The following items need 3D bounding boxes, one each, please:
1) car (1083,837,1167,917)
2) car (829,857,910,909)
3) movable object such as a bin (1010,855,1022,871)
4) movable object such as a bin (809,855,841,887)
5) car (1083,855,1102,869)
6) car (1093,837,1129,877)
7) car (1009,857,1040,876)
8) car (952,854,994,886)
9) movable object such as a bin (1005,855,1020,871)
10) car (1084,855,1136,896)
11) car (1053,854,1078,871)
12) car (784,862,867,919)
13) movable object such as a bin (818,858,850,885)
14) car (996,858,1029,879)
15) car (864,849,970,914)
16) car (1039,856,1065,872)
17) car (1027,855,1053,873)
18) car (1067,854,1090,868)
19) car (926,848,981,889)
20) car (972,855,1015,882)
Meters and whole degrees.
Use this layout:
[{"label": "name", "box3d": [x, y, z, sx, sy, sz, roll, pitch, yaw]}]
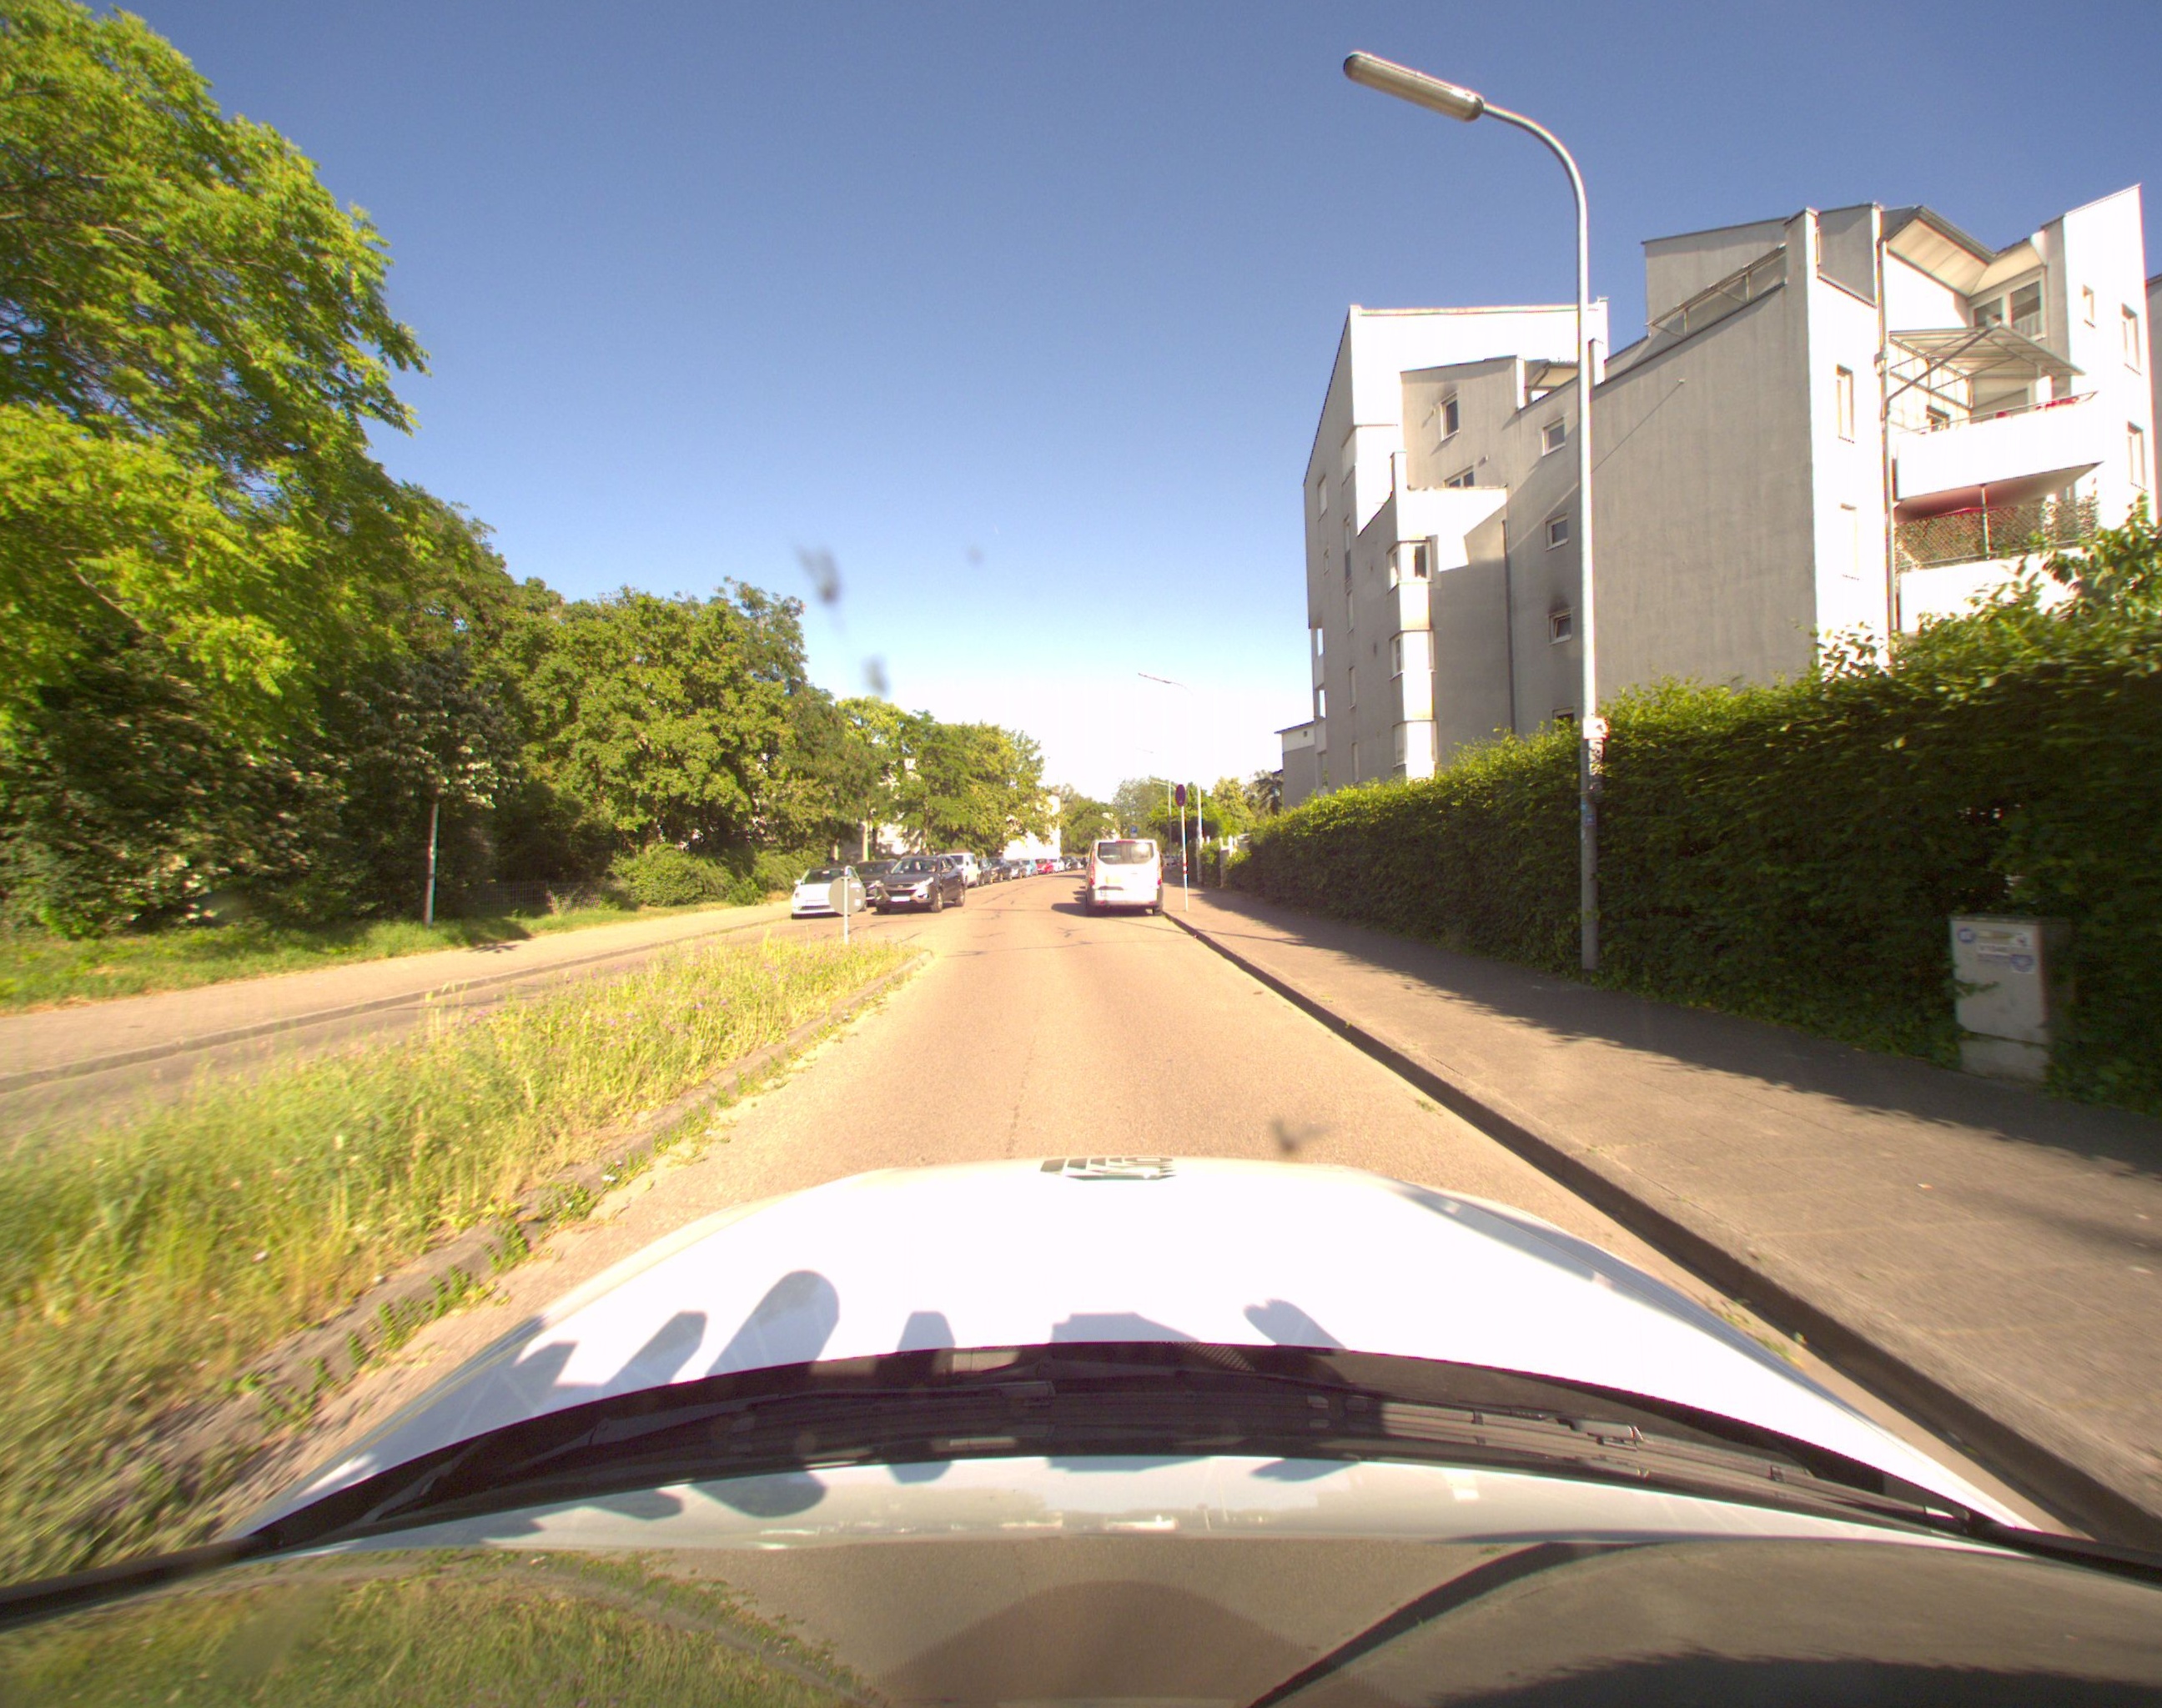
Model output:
[{"label": "car", "box3d": [1.096, 0.576, 22.434, 1.987, 1.912, 4.952, -2, 0, 0]}, {"label": "car", "box3d": [-7.533, 0.987, 29.424, 1.668, 1.638, 4.251, -3, 0, 1]}, {"label": "movable object such as a bin", "box3d": [-6.321, 0.874, 79.237, 0.983, 1.418, 1.317, -2, 0, 6]}, {"label": "movable object such as a bin", "box3d": [-12.946, 0.829, 41.251, 1.256, 1.551, 1.278, -2, 0, -4]}, {"label": "car", "box3d": [1.425, 0.936, 96.976, 1.651, 1.426, 4.058, -3, 0, 8]}, {"label": "car", "box3d": [2.044, 0.193, 53.188, 2.095, 2.486, 5.863, 0, 0, 4]}, {"label": "car", "box3d": [-4.580, 1.000, 66.436, 1.661, 1.474, 3.686, -3, 0, 8]}, {"label": "car", "box3d": [-6.253, 0.873, 47.515, 1.549, 1.722, 4.345, -2, 0, 4]}, {"label": "movable object such as a bin", "box3d": [-6.496, 0.832, 77.454, 1.105, 1.498, 1.411, -2, 0, 6]}, {"label": "car", "box3d": [1.146, 0.837, 32.898, 1.903, 1.488, 4.376, -2, 0, 1]}, {"label": "car", "box3d": [-1.619, 0.854, 85.442, 1.660, 1.666, 4.418, -3, 0, 10]}, {"label": "car", "box3d": [-7.589, 1.034, 24.491, 1.623, 1.527, 3.414, -2, 0, -5]}, {"label": "movable object such as a bin", "box3d": [-13.061, 0.916, 43.115, 1.272, 1.401, 1.262, -2, 0, 0]}, {"label": "car", "box3d": [-5.111, 1.074, 61.066, 1.662, 1.437, 4.006, -3, 0, 6]}, {"label": "car", "box3d": [-4.834, 0.759, 24.630, 1.903, 1.705, 4.192, -3, 0, 6]}, {"label": "car", "box3d": [-2.727, 0.961, 78.530, 1.660, 1.421, 3.912, -3, 0, 10]}, {"label": "car", "box3d": [-3.639, 0.854, 72.977, 1.661, 1.474, 3.686, -3, 0, 8]}, {"label": "car", "box3d": [-0.234, 0.763, 91.444, 1.649, 1.486, 4.066, -3, 0, 12]}, {"label": "car", "box3d": [-6.589, 0.730, 42.596, 1.856, 1.961, 4.673, -2, 0, 2]}, {"label": "car", "box3d": [-5.726, 0.954, 53.702, 1.739, 1.617, 4.372, -2, 0, 7]}]
